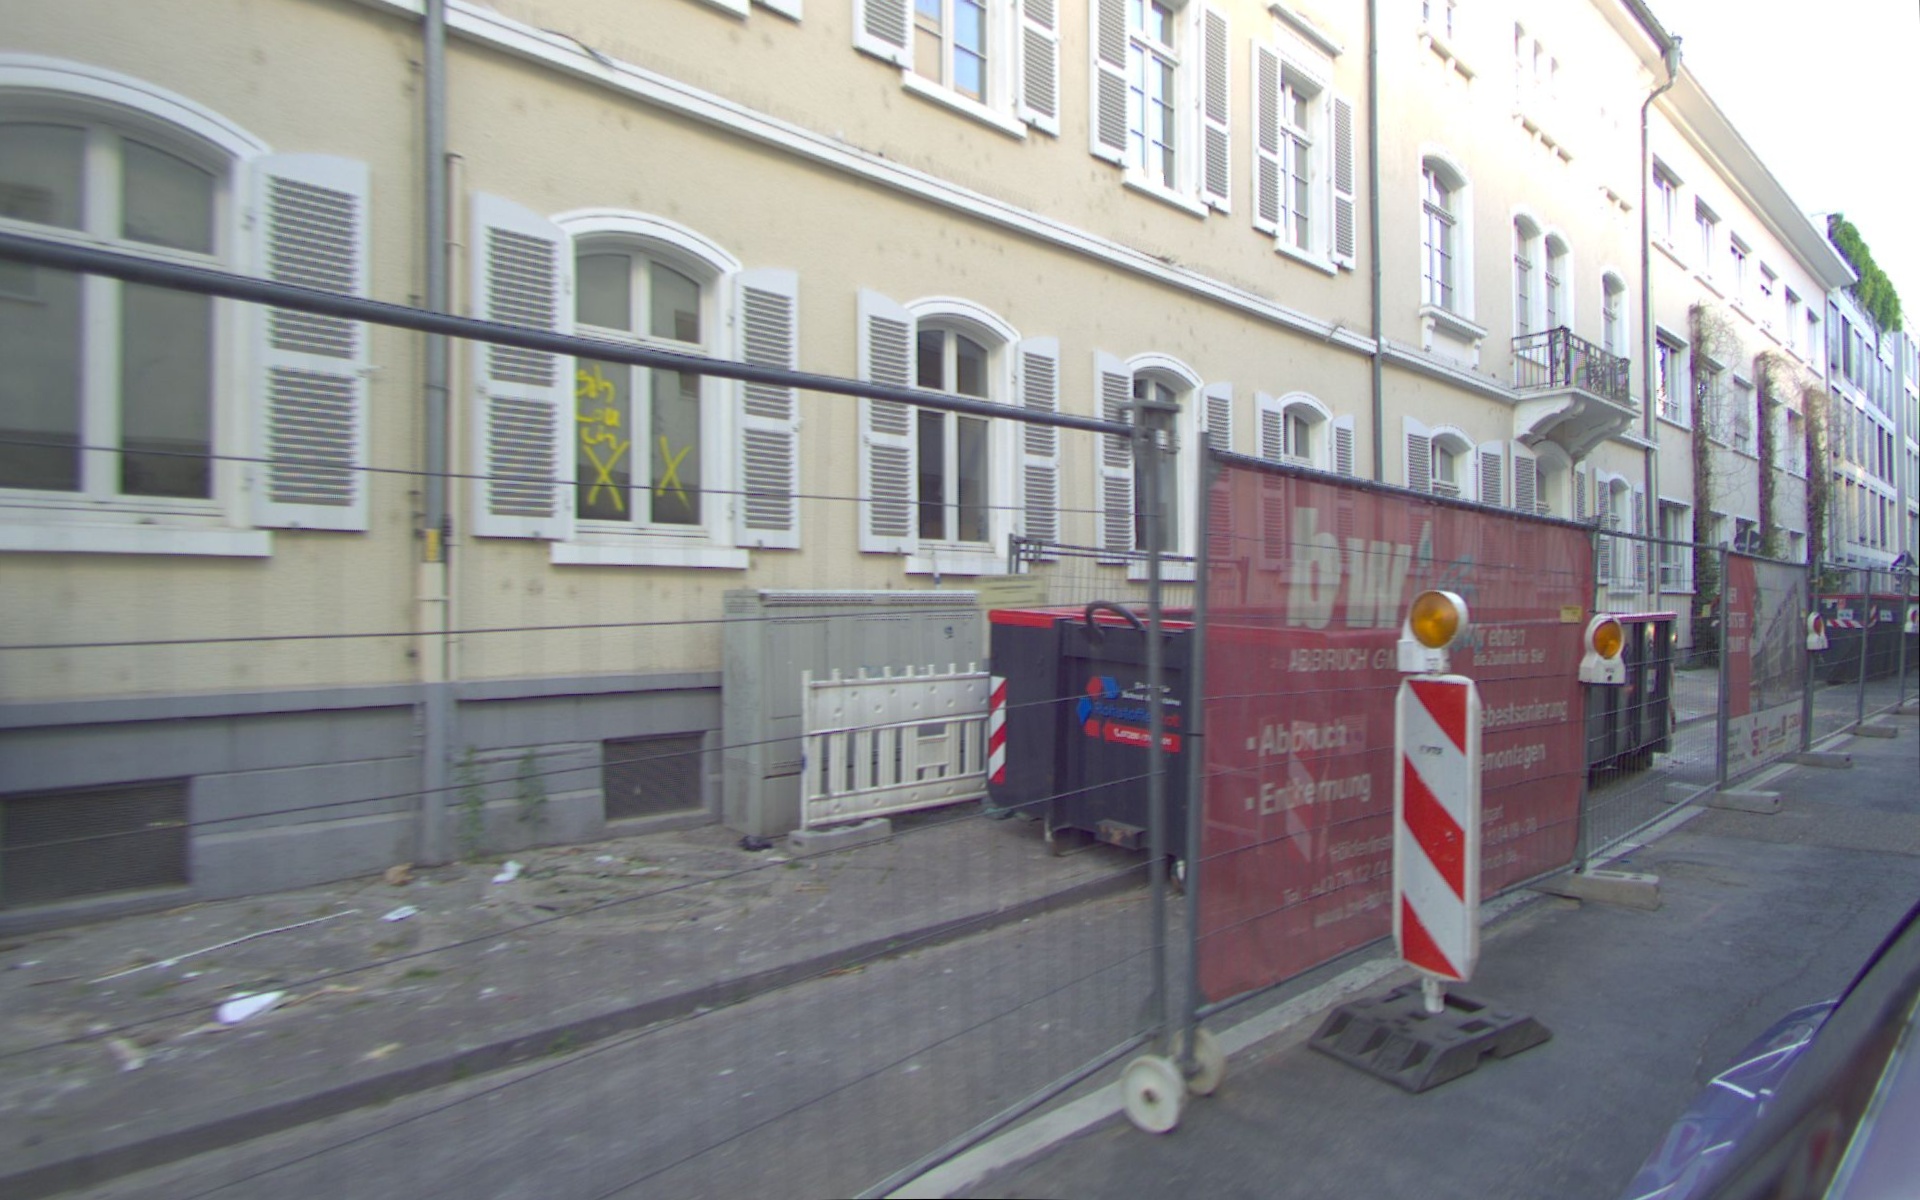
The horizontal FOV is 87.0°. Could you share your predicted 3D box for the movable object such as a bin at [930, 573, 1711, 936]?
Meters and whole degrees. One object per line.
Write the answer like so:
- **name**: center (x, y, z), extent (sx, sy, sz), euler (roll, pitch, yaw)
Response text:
- **movable object such as a bin**: center (3.468, 0.710, 8.163), extent (7.423, 1.659, 2.739), euler (0, -1, -42)
